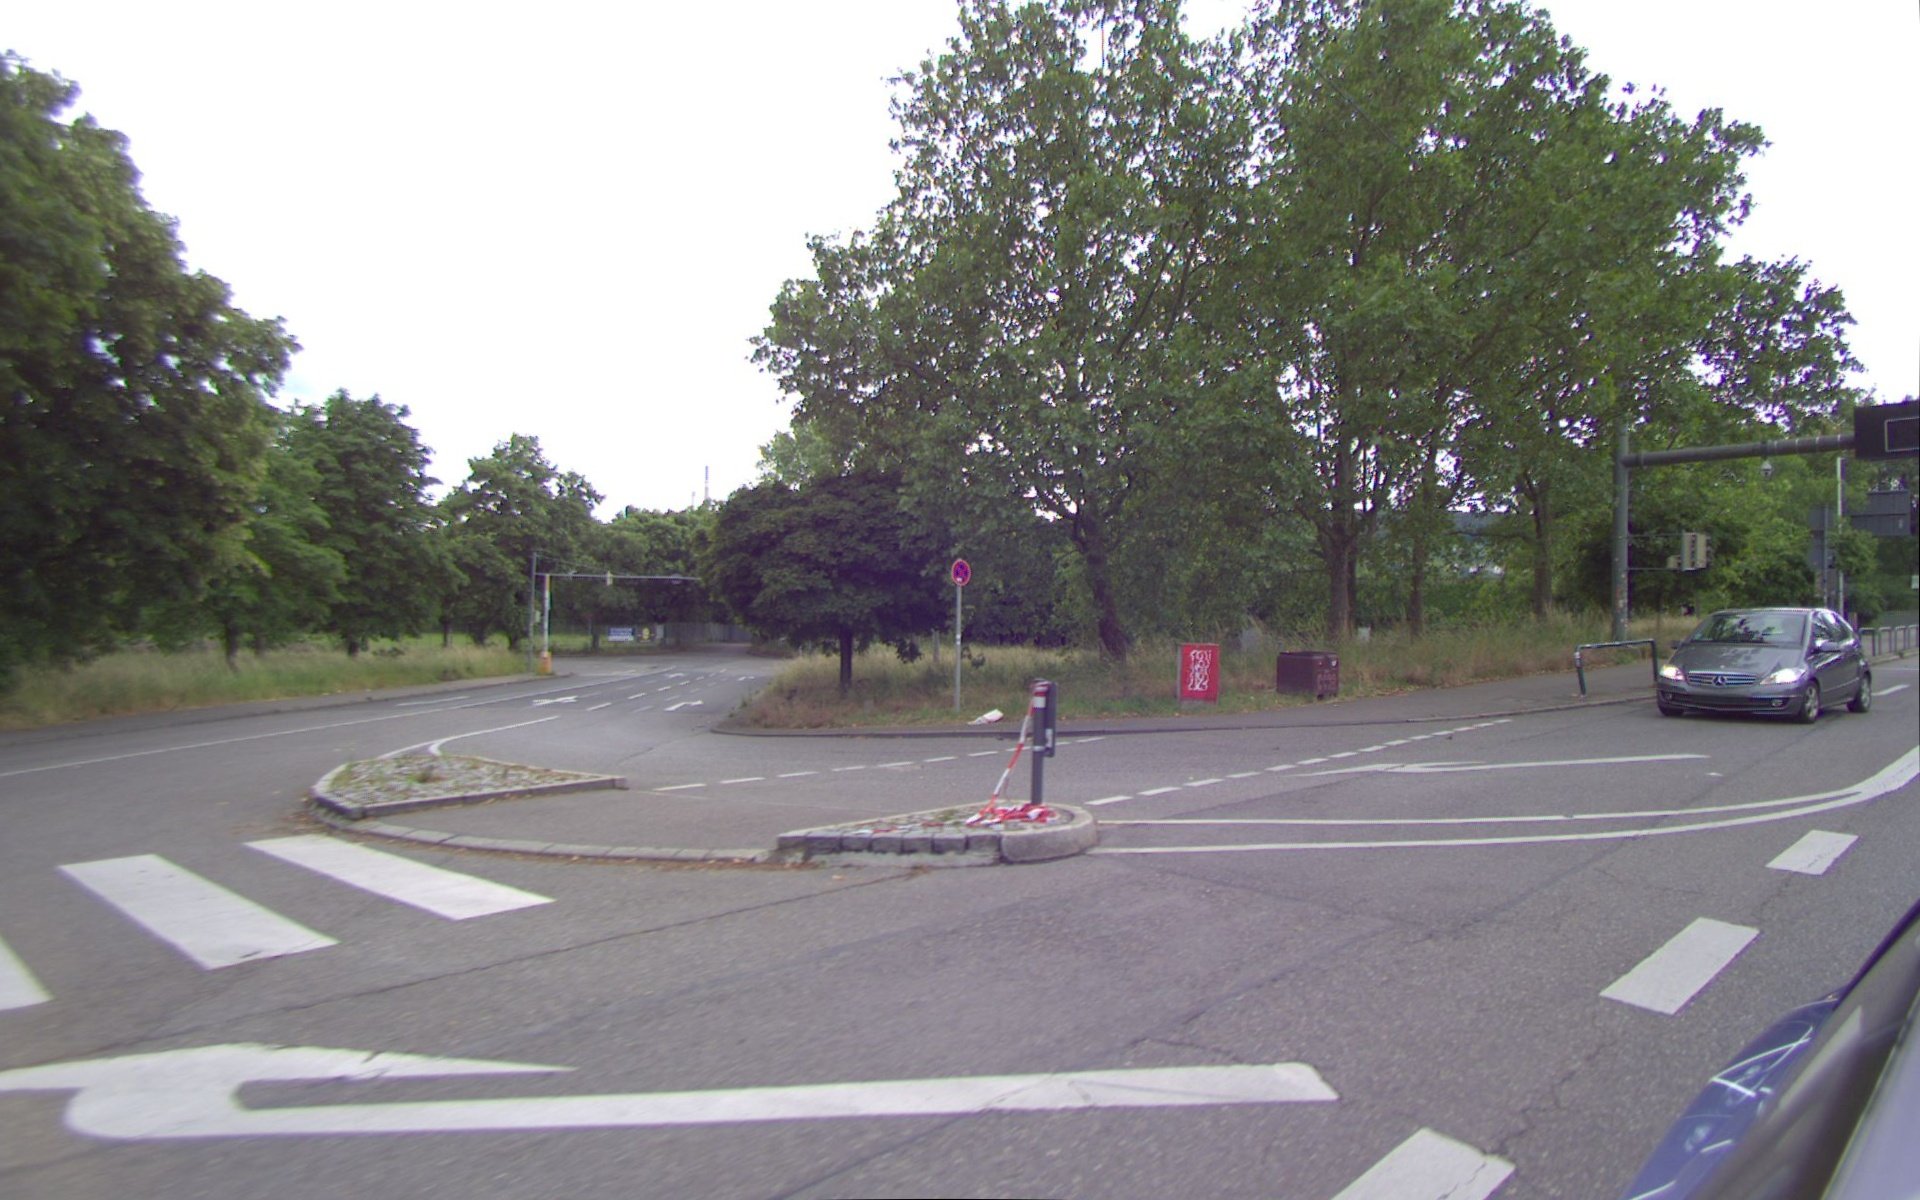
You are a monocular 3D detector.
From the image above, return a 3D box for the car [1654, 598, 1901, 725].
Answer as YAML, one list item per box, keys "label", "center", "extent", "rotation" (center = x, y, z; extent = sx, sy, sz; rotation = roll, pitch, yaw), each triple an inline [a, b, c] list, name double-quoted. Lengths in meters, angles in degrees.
- label: "car"
  center: [12.086, 0.841, 14.906]
  extent: [3.957, 1.637, 1.832]
  rotation: [2, -2, -35]
